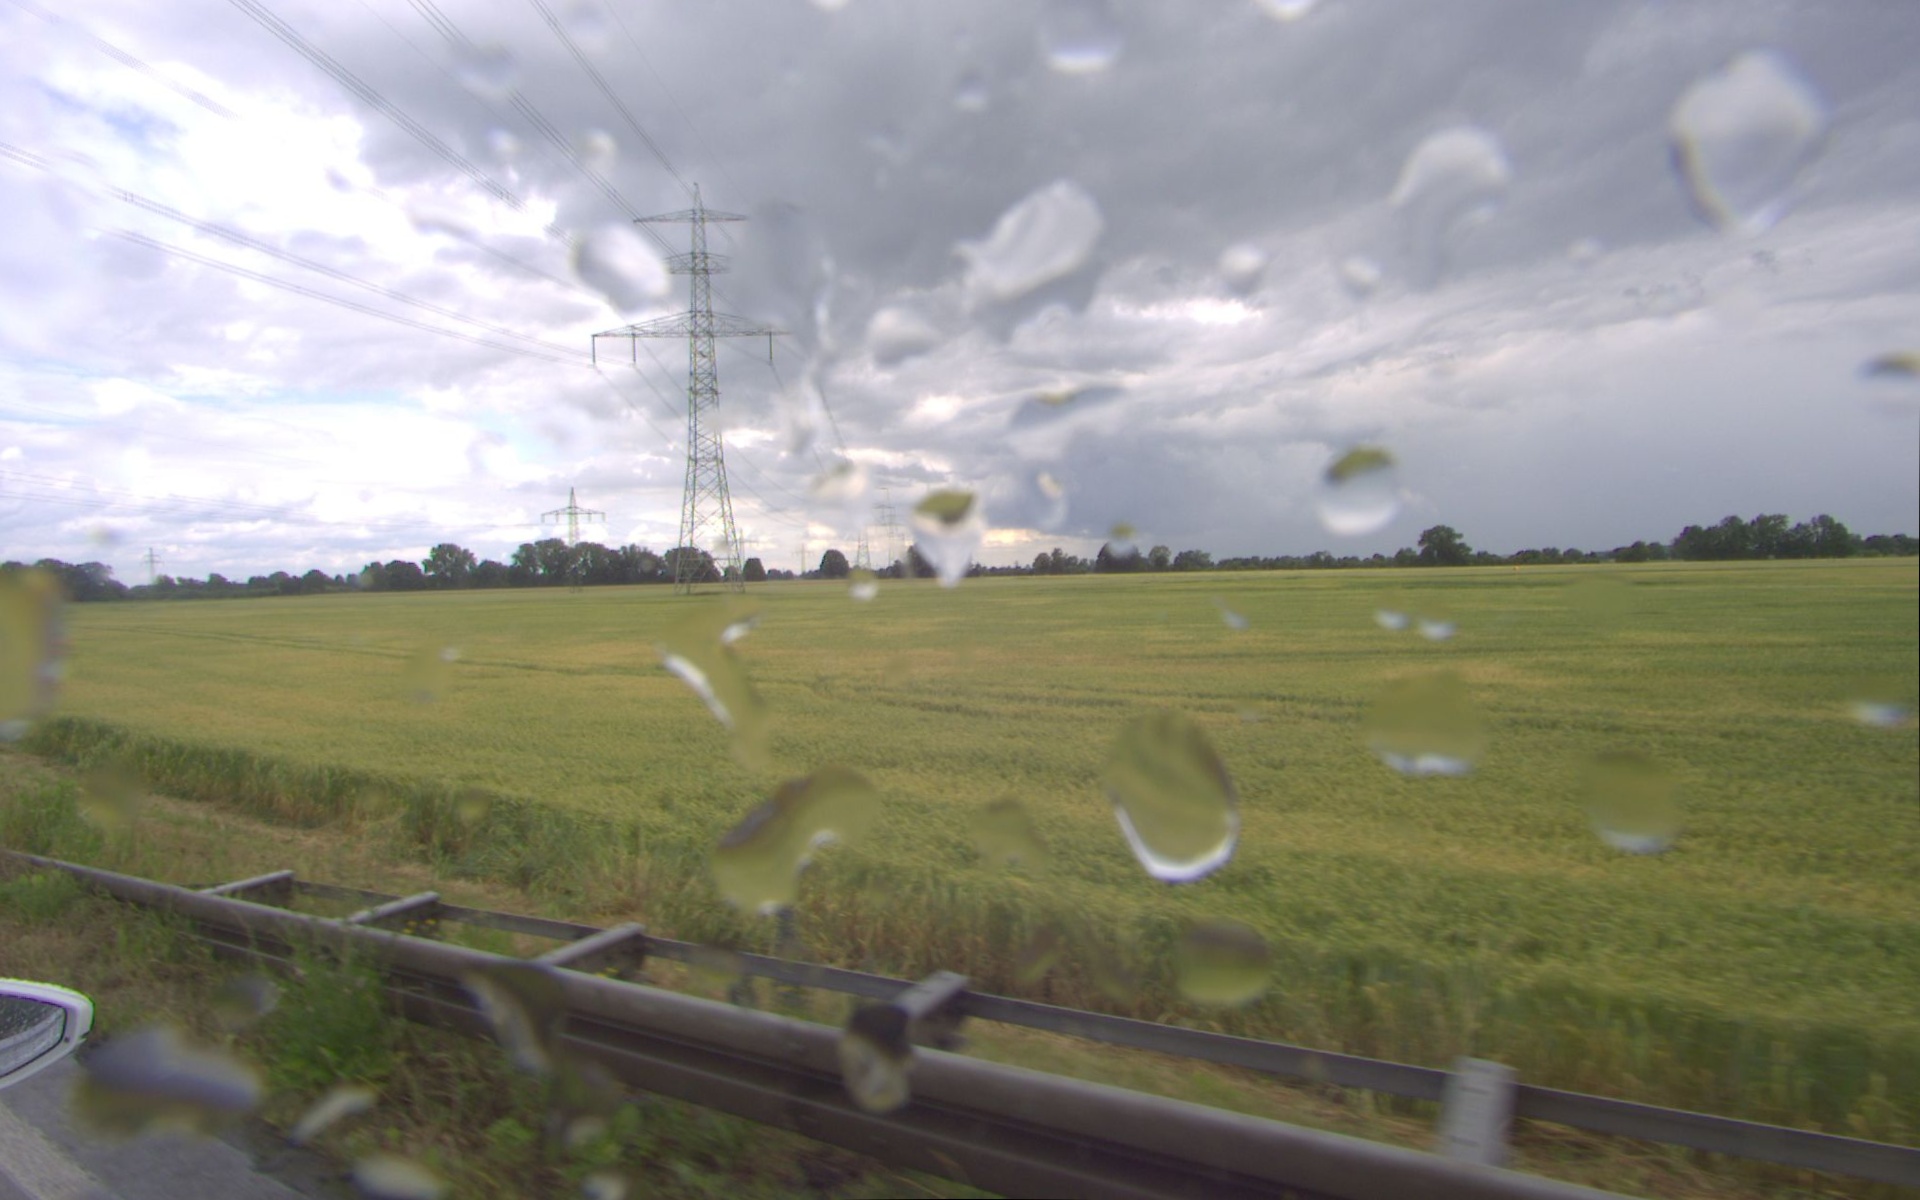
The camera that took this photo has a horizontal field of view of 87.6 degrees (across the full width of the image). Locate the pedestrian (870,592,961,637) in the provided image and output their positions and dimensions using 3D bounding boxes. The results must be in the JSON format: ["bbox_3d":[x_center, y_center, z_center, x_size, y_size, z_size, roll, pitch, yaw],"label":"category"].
[{"bbox_3d":[-2.145,0.727,48.226,3.938,2.039,1.993,-2,-2,28],"label":"pedestrian"}]
